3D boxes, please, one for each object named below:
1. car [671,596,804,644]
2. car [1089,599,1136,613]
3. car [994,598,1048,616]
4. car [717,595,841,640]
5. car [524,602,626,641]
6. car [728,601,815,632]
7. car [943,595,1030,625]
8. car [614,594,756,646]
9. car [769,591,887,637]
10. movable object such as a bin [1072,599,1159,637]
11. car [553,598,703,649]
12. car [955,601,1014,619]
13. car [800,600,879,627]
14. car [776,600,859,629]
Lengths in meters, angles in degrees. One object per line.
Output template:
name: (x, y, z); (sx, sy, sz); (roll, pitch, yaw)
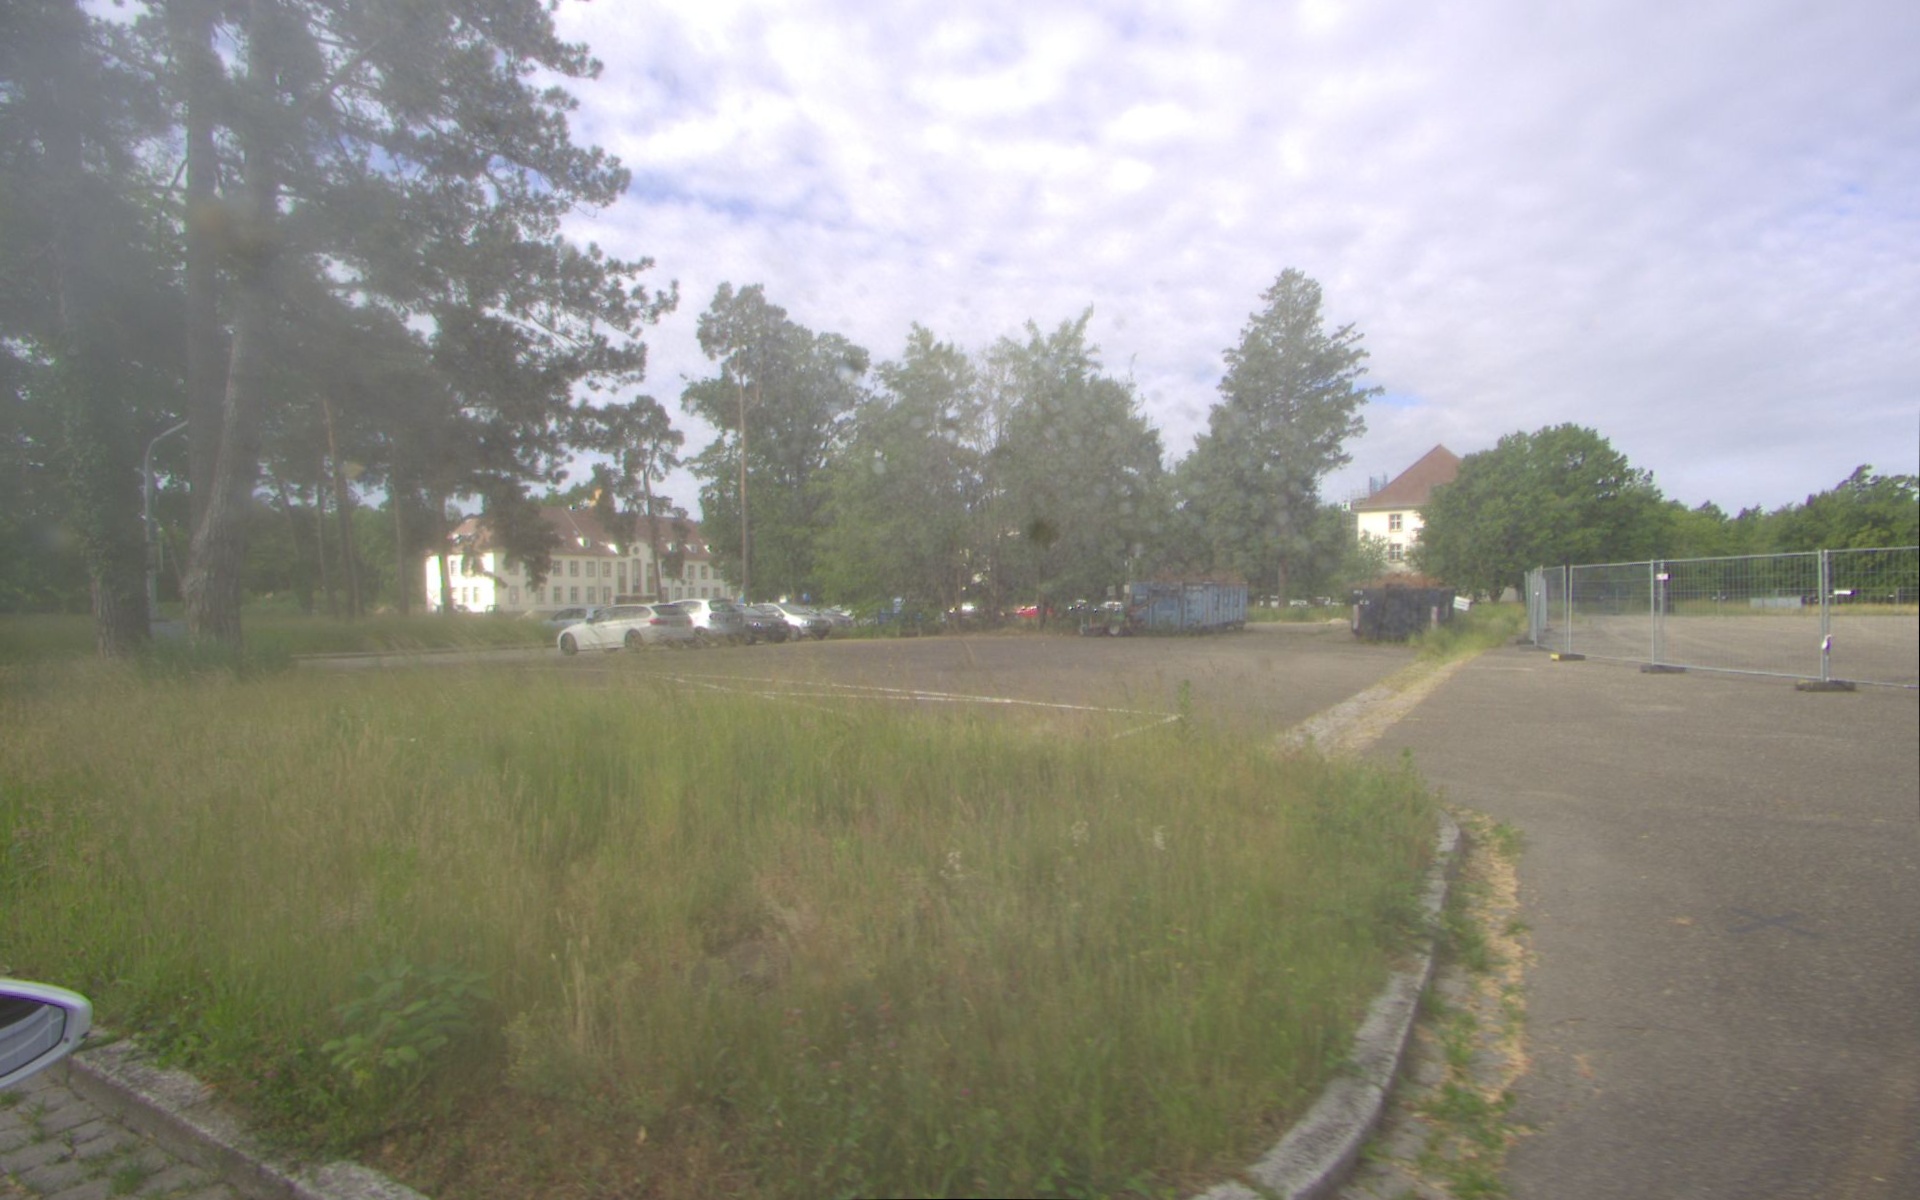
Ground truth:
car: (-7.761, 0.664, 34.944); (4.378, 1.598, 1.865); (0, 0, 28)
car: (13.826, 0.583, 90.852); (3.935, 1.225, 1.657); (0, 0, 26)
car: (4.820, 0.574, 79.250); (3.935, 1.373, 1.657); (0, 0, 26)
car: (-6.798, 0.617, 37.511); (4.378, 1.598, 1.865); (0, 0, 28)
car: (-16.336, 0.893, 42.449); (4.384, 1.544, 1.748); (0, 1, 33)
car: (-9.946, 0.850, 52.871); (4.378, 1.544, 1.751); (0, 1, 28)
car: (1.433, 0.523, 54.853); (4.378, 1.598, 1.865); (0, 0, 28)
car: (-8.935, 0.632, 32.502); (4.378, 1.598, 1.865); (0, 0, 28)
car: (-5.235, 0.533, 39.642); (4.378, 1.709, 1.865); (0, 1, 28)
movable object such as a bin: (4.895, 0.539, 31.525); (2.504, 1.098, 1.060); (1, 1, 30)
car: (-10.019, 0.713, 30.142); (4.379, 1.434, 1.751); (-1, 0, 28)
car: (1.751, 0.710, 72.275); (3.932, 1.225, 1.658); (0, 0, 23)
car: (-6.992, 0.775, 57.972); (4.378, 1.544, 1.751); (0, 1, 28)
car: (-7.871, 0.799, 55.290); (4.378, 1.544, 1.751); (0, 1, 28)
